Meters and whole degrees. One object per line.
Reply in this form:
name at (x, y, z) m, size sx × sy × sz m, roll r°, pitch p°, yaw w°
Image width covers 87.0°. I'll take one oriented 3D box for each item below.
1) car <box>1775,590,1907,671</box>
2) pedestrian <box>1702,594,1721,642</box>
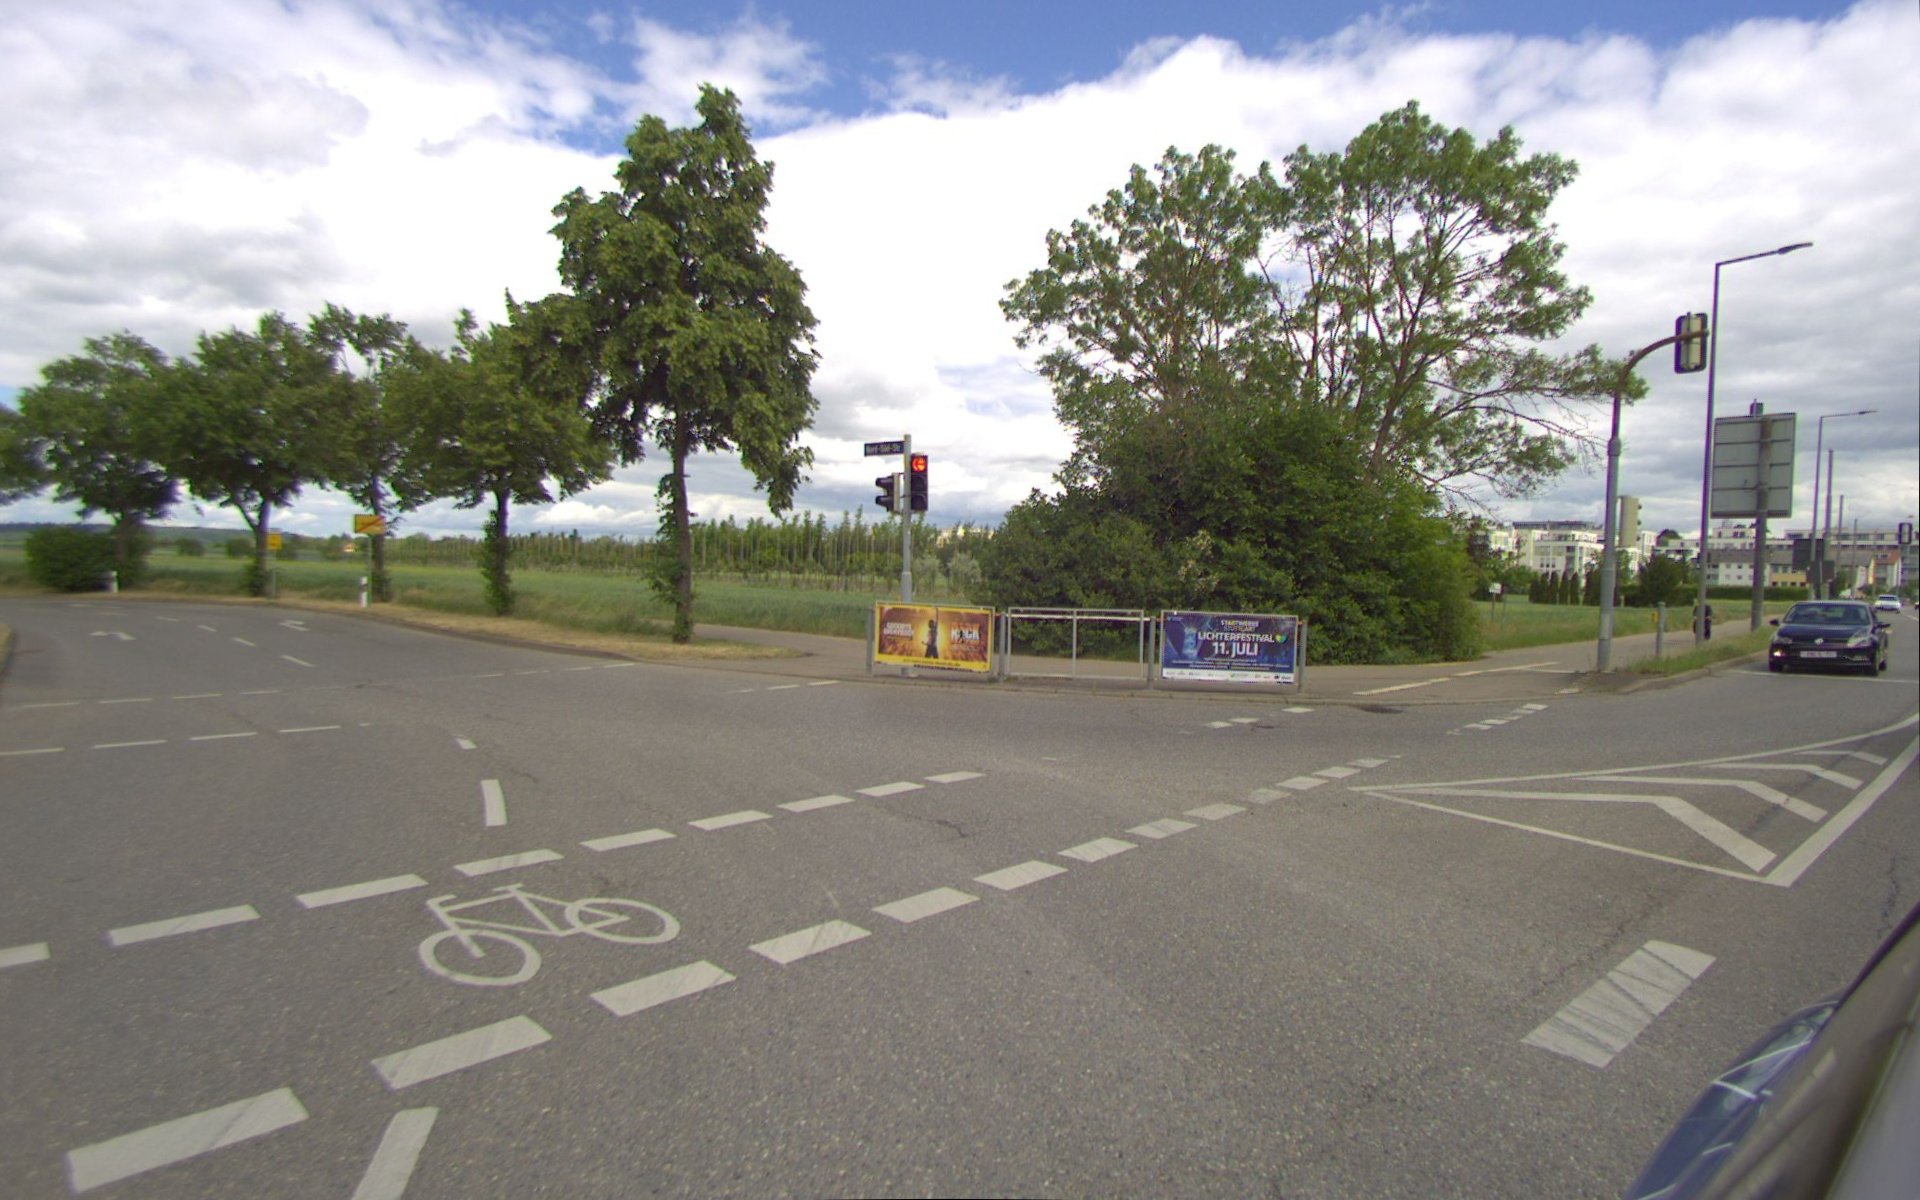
car at (17.909, 0.543, 20.527) m, size 3.678 × 1.436 × 1.680 m, roll -1°, pitch 2°, yaw -44°
pedestrian at (27.193, 0.653, 36.621) m, size 0.491 × 1.724 × 0.616 m, roll 0°, pitch 0°, yaw 44°
